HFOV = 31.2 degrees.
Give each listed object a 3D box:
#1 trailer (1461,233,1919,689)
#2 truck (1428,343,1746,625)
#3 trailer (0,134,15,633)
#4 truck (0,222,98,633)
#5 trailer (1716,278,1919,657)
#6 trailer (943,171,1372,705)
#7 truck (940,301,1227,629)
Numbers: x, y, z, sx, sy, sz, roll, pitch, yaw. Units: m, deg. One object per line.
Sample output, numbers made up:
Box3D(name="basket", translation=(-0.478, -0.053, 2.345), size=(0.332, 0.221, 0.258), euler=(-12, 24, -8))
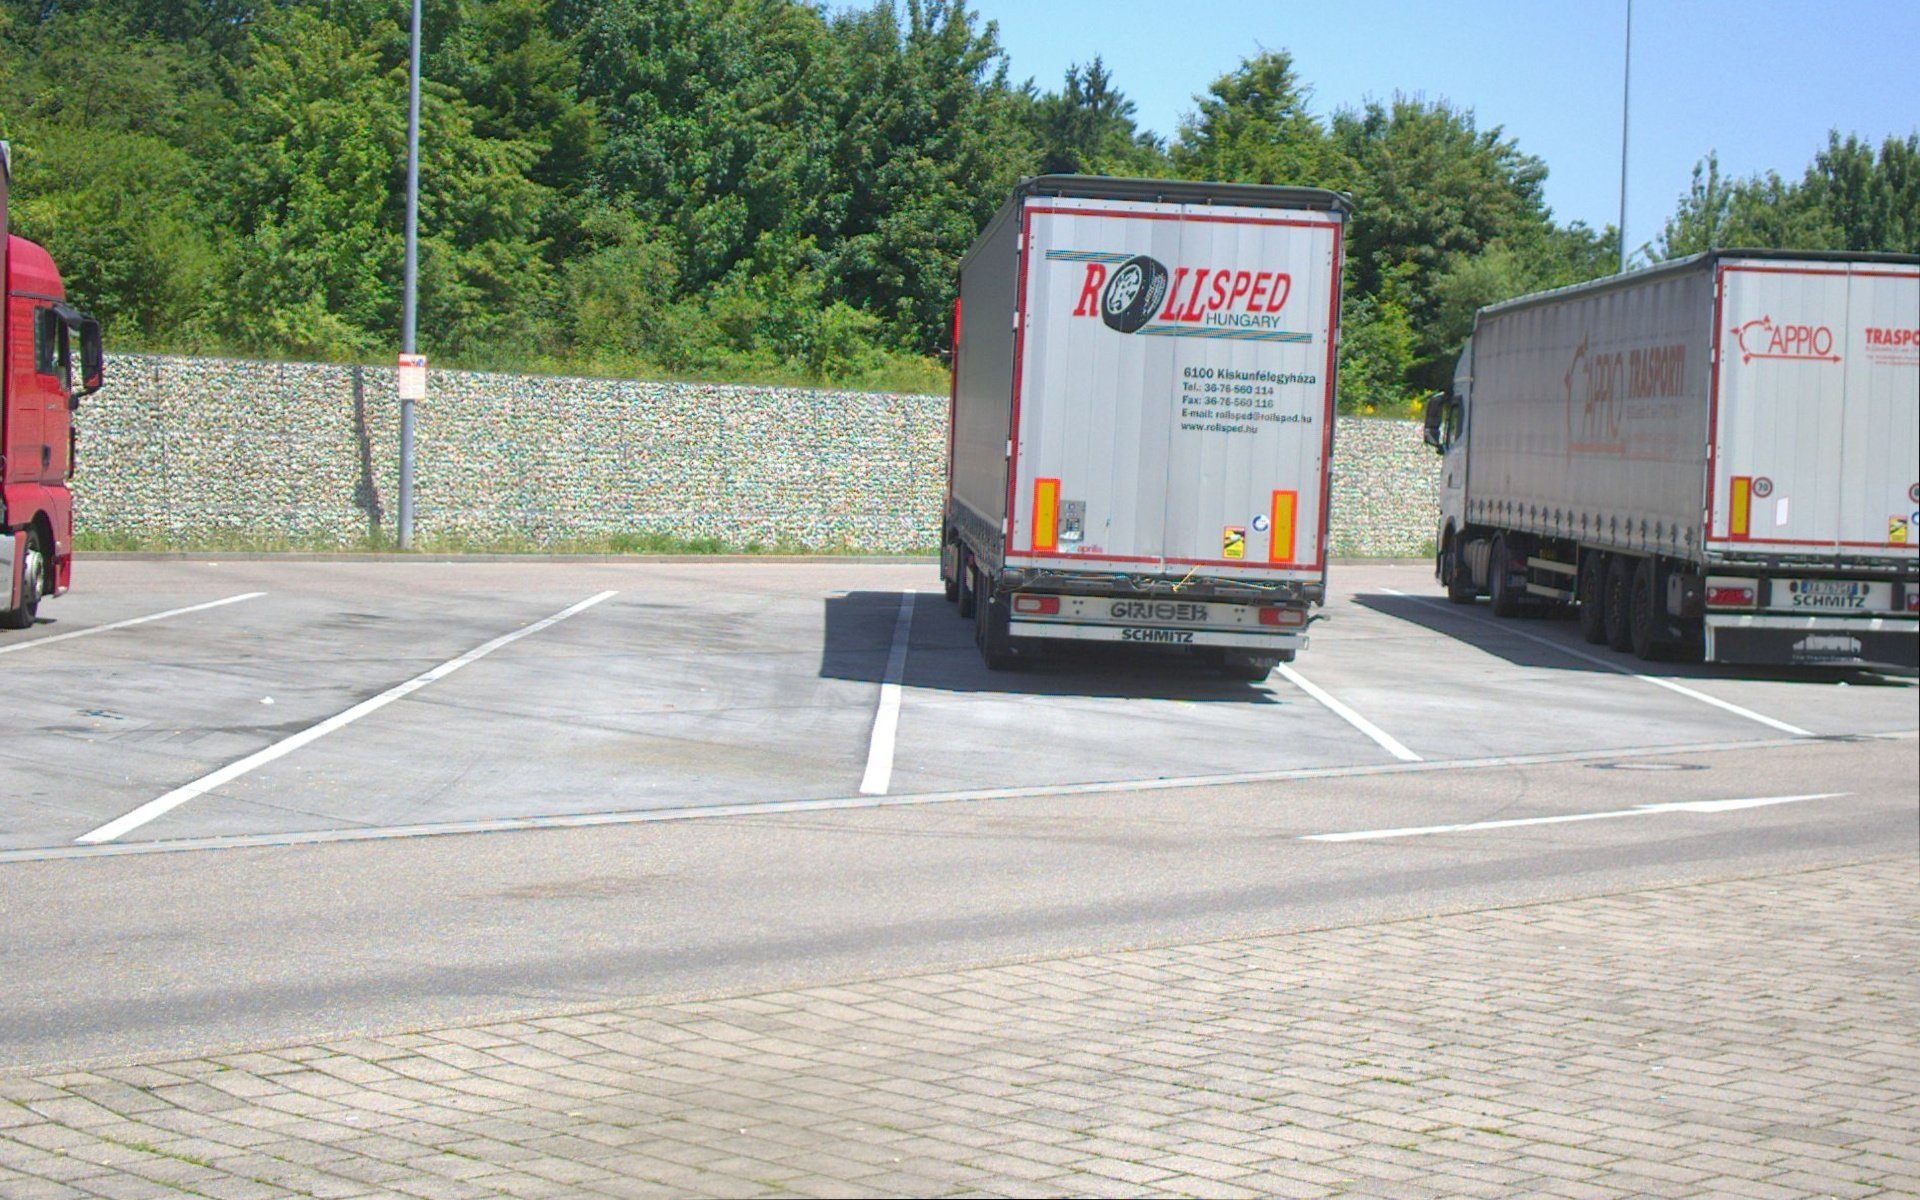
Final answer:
Box3D(name="trailer", translation=(8.195, -1.588, 38.371), size=(2.858, 4.095, 13.765), euler=(2, 3, -1))
Box3D(name="truck", translation=(8.093, -1.568, 45.137), size=(2.865, 3.351, 5.975), euler=(2, 3, -1))
Box3D(name="trailer", translation=(-9.156, -1.468, 21.375), size=(2.821, 4.057, 13.765), euler=(2, 3, -1))
Box3D(name="truck", translation=(-9.244, -1.459, 28.194), size=(2.812, 3.351, 5.975), euler=(2, 3, -1))
Box3D(name="trailer", translation=(11.792, -1.502, 39.383), size=(2.858, 4.095, 13.765), euler=(2, 3, -1))
Box3D(name="trailer", translation=(1.466, -1.568, 33.116), size=(2.858, 3.958, 13.765), euler=(2, 3, -1))
Box3D(name="truck", translation=(1.282, -1.574, 39.318), size=(2.865, 3.351, 5.975), euler=(2, 3, -1))
